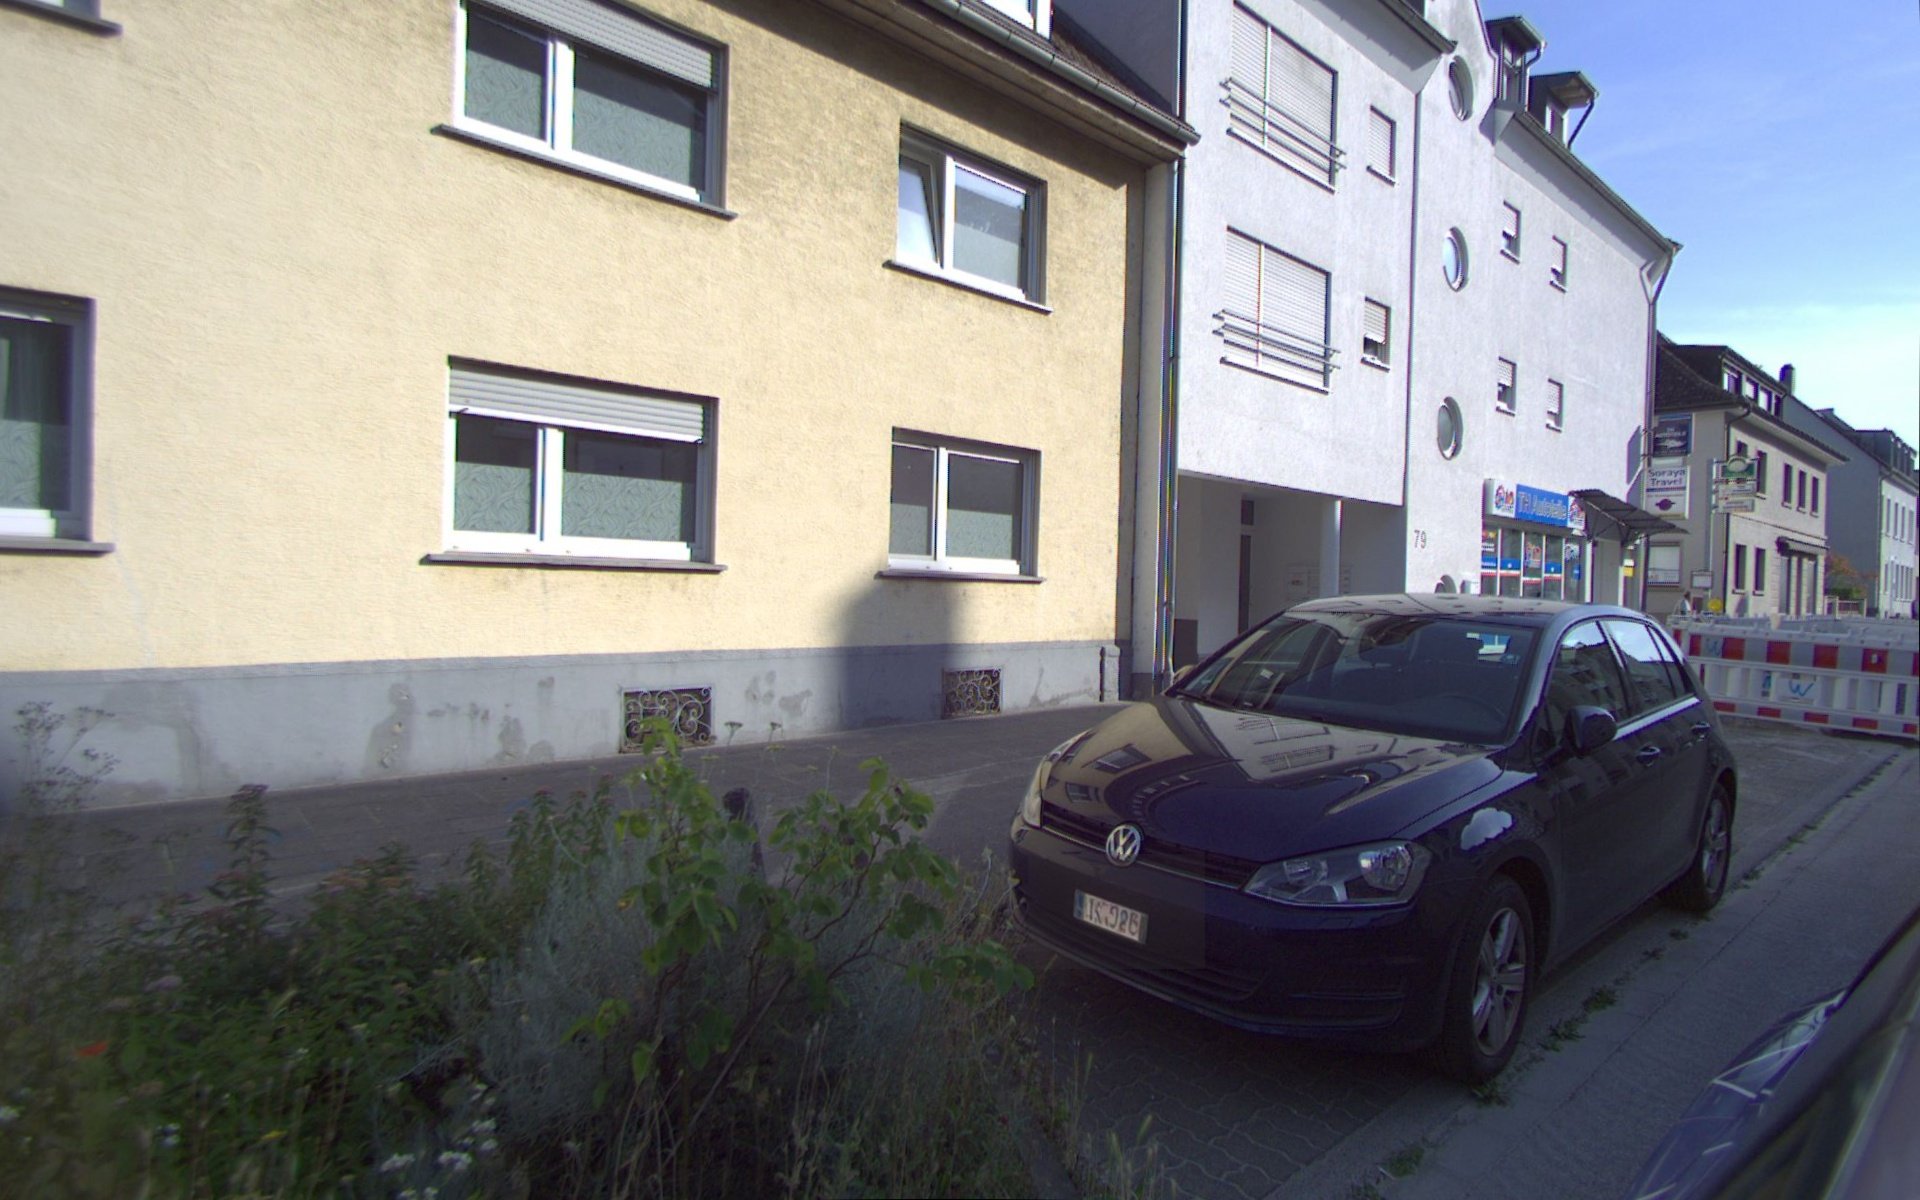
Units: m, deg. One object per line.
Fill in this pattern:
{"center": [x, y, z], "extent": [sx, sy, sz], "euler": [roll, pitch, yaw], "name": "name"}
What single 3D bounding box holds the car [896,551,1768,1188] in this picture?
{"center": [1.830, 0.600, 4.341], "extent": [3.873, 1.500, 1.834], "euler": [0, 2, -40], "name": "car"}
